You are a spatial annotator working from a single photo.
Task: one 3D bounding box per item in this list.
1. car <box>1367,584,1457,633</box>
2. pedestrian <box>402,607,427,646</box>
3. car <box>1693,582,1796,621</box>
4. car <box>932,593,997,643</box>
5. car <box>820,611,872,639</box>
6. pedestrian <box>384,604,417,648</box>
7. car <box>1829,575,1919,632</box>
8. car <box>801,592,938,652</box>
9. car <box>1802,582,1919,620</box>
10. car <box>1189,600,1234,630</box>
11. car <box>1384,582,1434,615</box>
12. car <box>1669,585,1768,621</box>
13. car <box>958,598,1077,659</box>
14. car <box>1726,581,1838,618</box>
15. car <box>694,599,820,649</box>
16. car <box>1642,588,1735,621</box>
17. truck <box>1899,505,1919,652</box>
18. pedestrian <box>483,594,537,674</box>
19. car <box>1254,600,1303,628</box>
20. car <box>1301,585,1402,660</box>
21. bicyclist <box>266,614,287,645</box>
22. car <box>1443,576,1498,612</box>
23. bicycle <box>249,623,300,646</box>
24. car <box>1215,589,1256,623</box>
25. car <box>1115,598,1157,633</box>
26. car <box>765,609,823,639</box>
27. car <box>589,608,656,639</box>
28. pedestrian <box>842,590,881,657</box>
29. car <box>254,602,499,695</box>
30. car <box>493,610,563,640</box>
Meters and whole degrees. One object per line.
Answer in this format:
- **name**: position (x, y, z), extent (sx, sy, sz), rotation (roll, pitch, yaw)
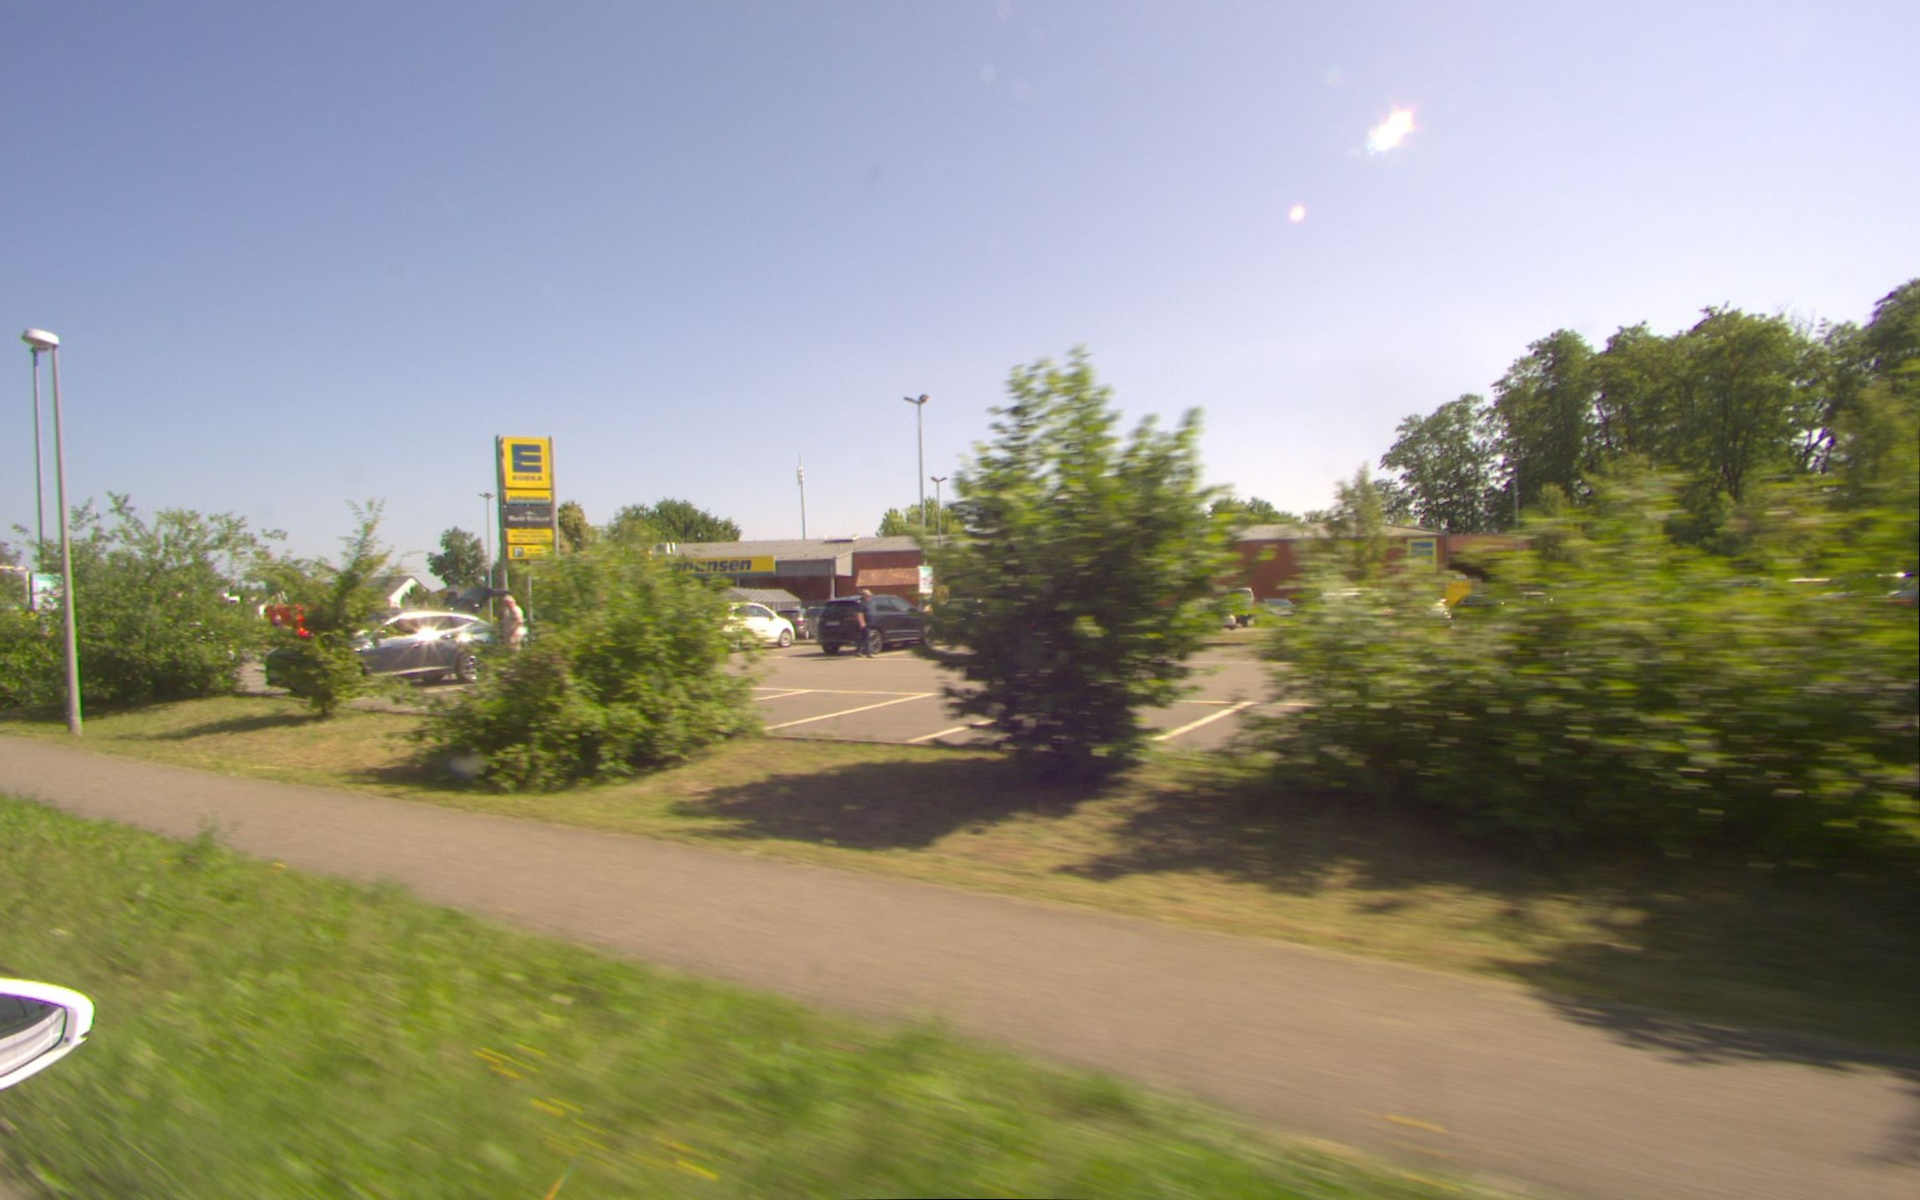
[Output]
- **car**: position (15.802, 0.274, 35.212), extent (1.933, 1.606, 3.997), rotation (-1, 0, 10)
- **pedestrian**: position (-23.442, 1.129, 43.026), extent (0.588, 1.670, 0.700), rotation (0, 1, 32)
- **car**: position (42.011, 0.078, 53.706), extent (3.923, 2.000, 1.942), rotation (-1, 1, 7)
- **car**: position (0.237, 0.710, 37.454), extent (1.961, 1.723, 4.562), rotation (-1, -2, 6)
- **car**: position (-5.858, 1.254, 51.795), extent (1.961, 1.394, 4.000), rotation (0, 0, 4)
- **pedestrian**: position (-23.454, 1.090, 41.983), extent (0.829, 1.809, 0.877), rotation (0, 1, 27)
- **car**: position (26.695, 0.046, 27.176), extent (4.407, 1.485, 1.999), rotation (-1, 1, 2)
- **car**: position (-2.549, 0.602, 29.193), extent (1.970, 1.595, 4.147), rotation (0, 0, 30)
- **car**: position (41.200, 0.039, 45.535), extent (4.178, 1.617, 1.795), rotation (-1, 0, 5)
- **car**: position (12.458, 0.739, 49.787), extent (1.855, 1.416, 3.998), rotation (-1, 0, 10)
- **car**: position (28.803, -0.104, 64.327), extent (1.962, 2.040, 3.998), rotation (0, 0, 9)
- **car**: position (42.283, 0.148, 55.901), extent (3.923, 1.890, 1.942), rotation (-1, 1, 7)
- **car**: position (1.583, 0.685, 26.141), extent (1.721, 1.446, 3.986), rotation (-1, 0, 25)
- **car**: position (41.663, -0.027, 50.829), extent (3.923, 1.734, 1.942), rotation (-1, 1, 7)
- **car**: position (-6.512, 0.741, 32.460), extent (1.628, 1.461, 3.975), rotation (-1, 0, 35)
- **car**: position (42.723, 0.252, 58.797), extent (3.923, 1.824, 1.942), rotation (-1, 1, 7)
- **truck**: position (17.424, -0.386, 16.217), extent (2.172, 2.640, 5.586), rotation (-1, 1, 32)
- **pedestrian**: position (-10.622, 0.785, 23.633), extent (0.854, 1.821, 0.816), rotation (0, 1, 34)
- **car**: position (17.167, 0.734, 54.143), extent (1.876, 1.461, 3.998), rotation (-1, 0, 8)
- **car**: position (8.569, 0.451, 21.899), extent (1.872, 1.472, 3.963), rotation (-1, 0, 22)
- **bicyclist**: position (-34.560, 1.488, 50.633), extent (0.599, 1.535, 0.673), rotation (0, 1, 36)
- **car**: position (32.750, -0.363, 64.345), extent (1.962, 2.276, 4.022), rotation (0, 0, 9)
- **bicycle**: position (-34.592, 1.742, 50.556), extent (0.546, 1.056, 2.062), rotation (0, 1, 36)
- **car**: position (17.668, 0.374, 64.411), extent (1.961, 2.040, 3.999), rotation (-1, 0, 7)
- **car**: position (8.813, 0.764, 49.937), extent (1.962, 1.684, 3.997), rotation (0, 0, 11)
- **car**: position (-8.448, 1.192, 51.329), extent (1.944, 1.439, 3.999), rotation (0, 0, 6)
- **car**: position (-17.496, 1.196, 52.044), extent (1.684, 1.517, 3.489), rotation (0, 0, 13)
- **pedestrian**: position (-2.607, 0.611, 26.457), extent (0.701, 1.728, 0.755), rotation (0, 1, 27)
- **car**: position (-12.163, 0.933, 21.152), extent (1.728, 1.649, 4.108), rotation (0, 1, 33)
- **car**: position (-22.872, 1.302, 53.147), extent (1.684, 1.477, 3.489), rotation (0, 0, 13)
